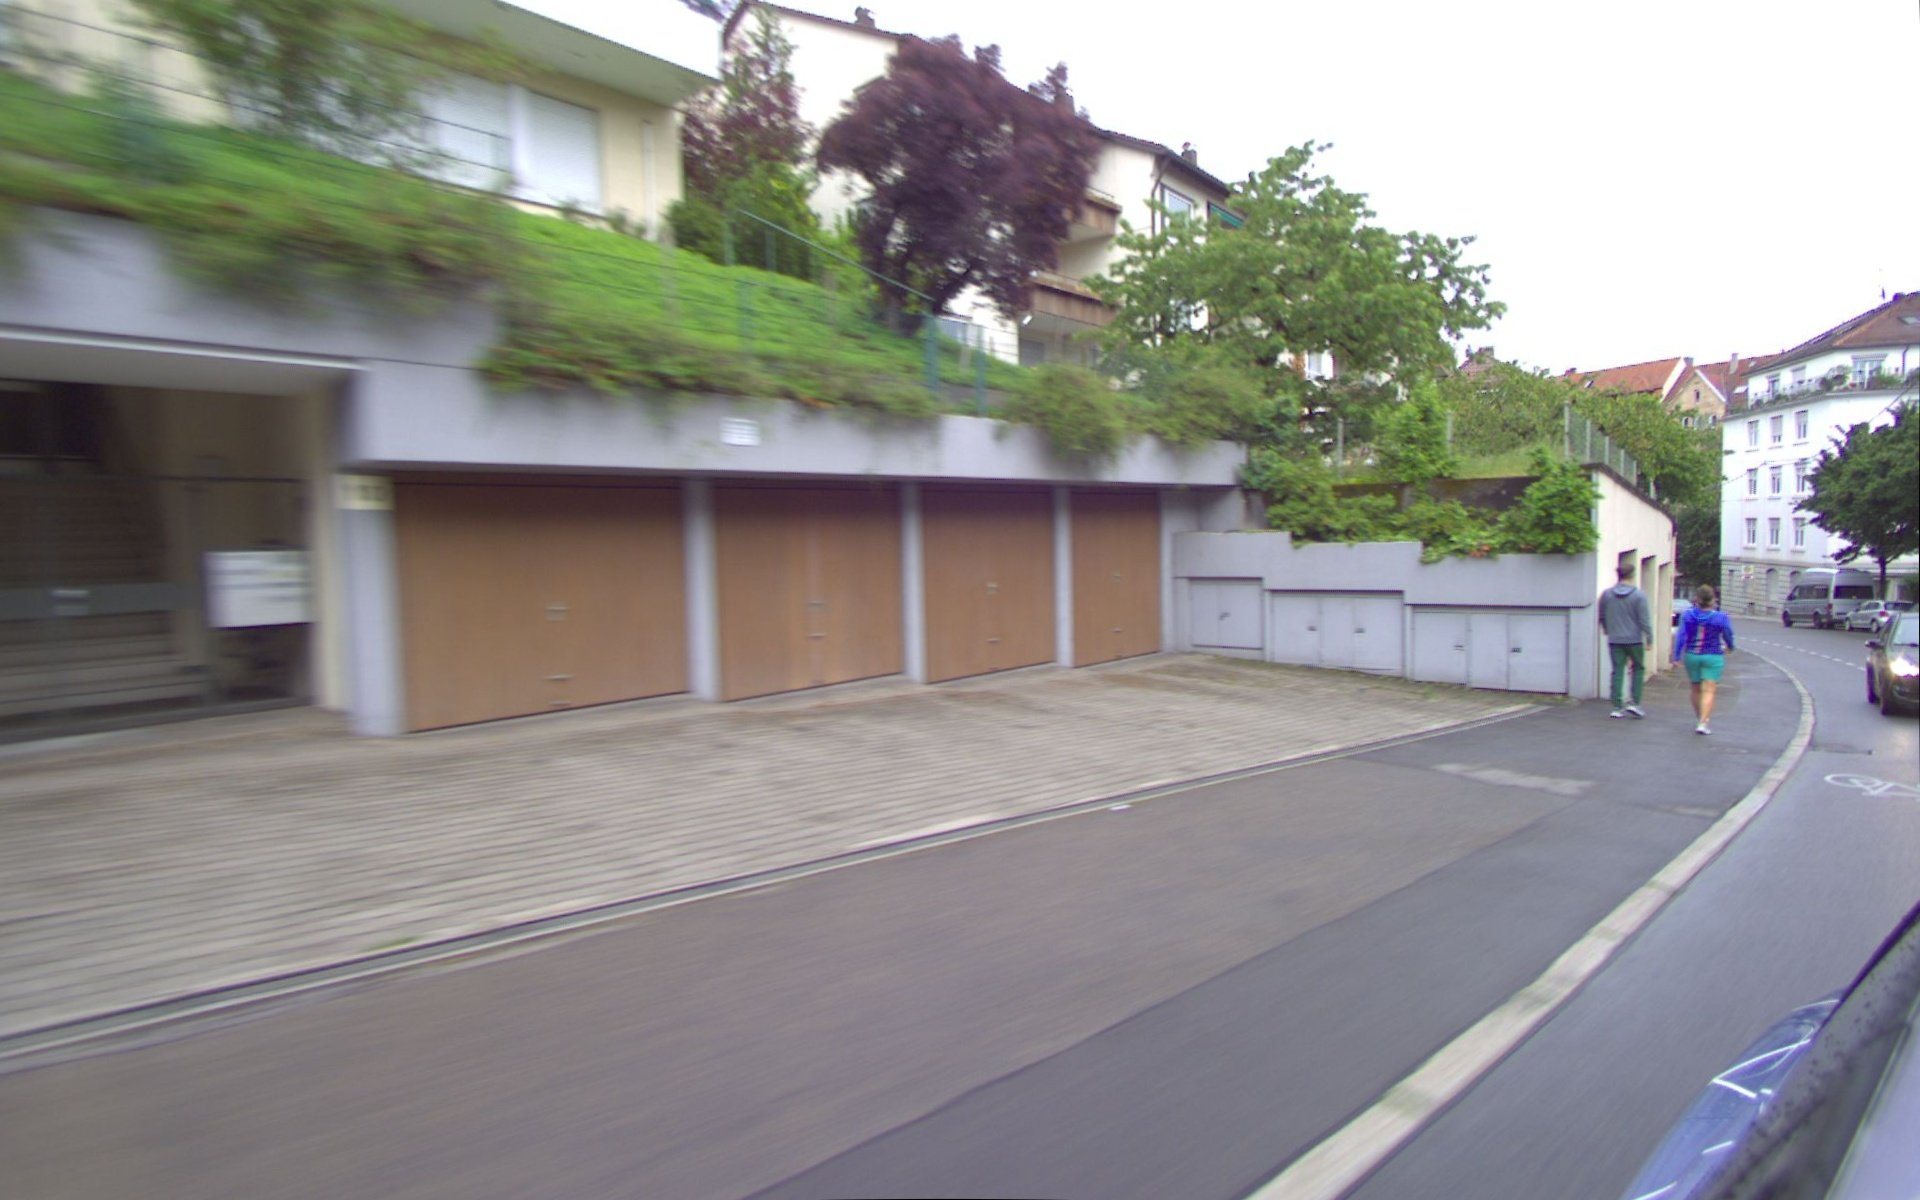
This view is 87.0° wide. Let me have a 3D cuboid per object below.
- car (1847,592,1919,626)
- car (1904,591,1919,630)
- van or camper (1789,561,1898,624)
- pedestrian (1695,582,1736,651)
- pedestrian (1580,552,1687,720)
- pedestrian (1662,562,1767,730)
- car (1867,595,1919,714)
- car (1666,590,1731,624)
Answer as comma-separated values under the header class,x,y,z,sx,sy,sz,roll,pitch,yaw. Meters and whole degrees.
class,x,y,z,sx,sy,sz,roll,pitch,yaw
car,40.682,0.353,44.157,1.571,1.427,4.021,0,1,20
car,38.266,0.453,38.741,1.775,1.512,4.459,1,1,25
van or camper,42.940,-0.394,49.369,2.049,2.895,5.708,1,1,21
pedestrian,21.006,0.448,28.152,0.897,1.874,0.792,0,1,38
pedestrian,8.022,0.392,12.039,0.776,1.854,1.232,5,3,43
pedestrian,8.551,0.478,11.468,0.775,1.780,0.996,4,3,43
car,14.543,0.702,14.744,1.690,1.483,3.945,-4,-1,39
car,40.356,0.342,55.409,1.876,1.717,3.970,-3,0,22
